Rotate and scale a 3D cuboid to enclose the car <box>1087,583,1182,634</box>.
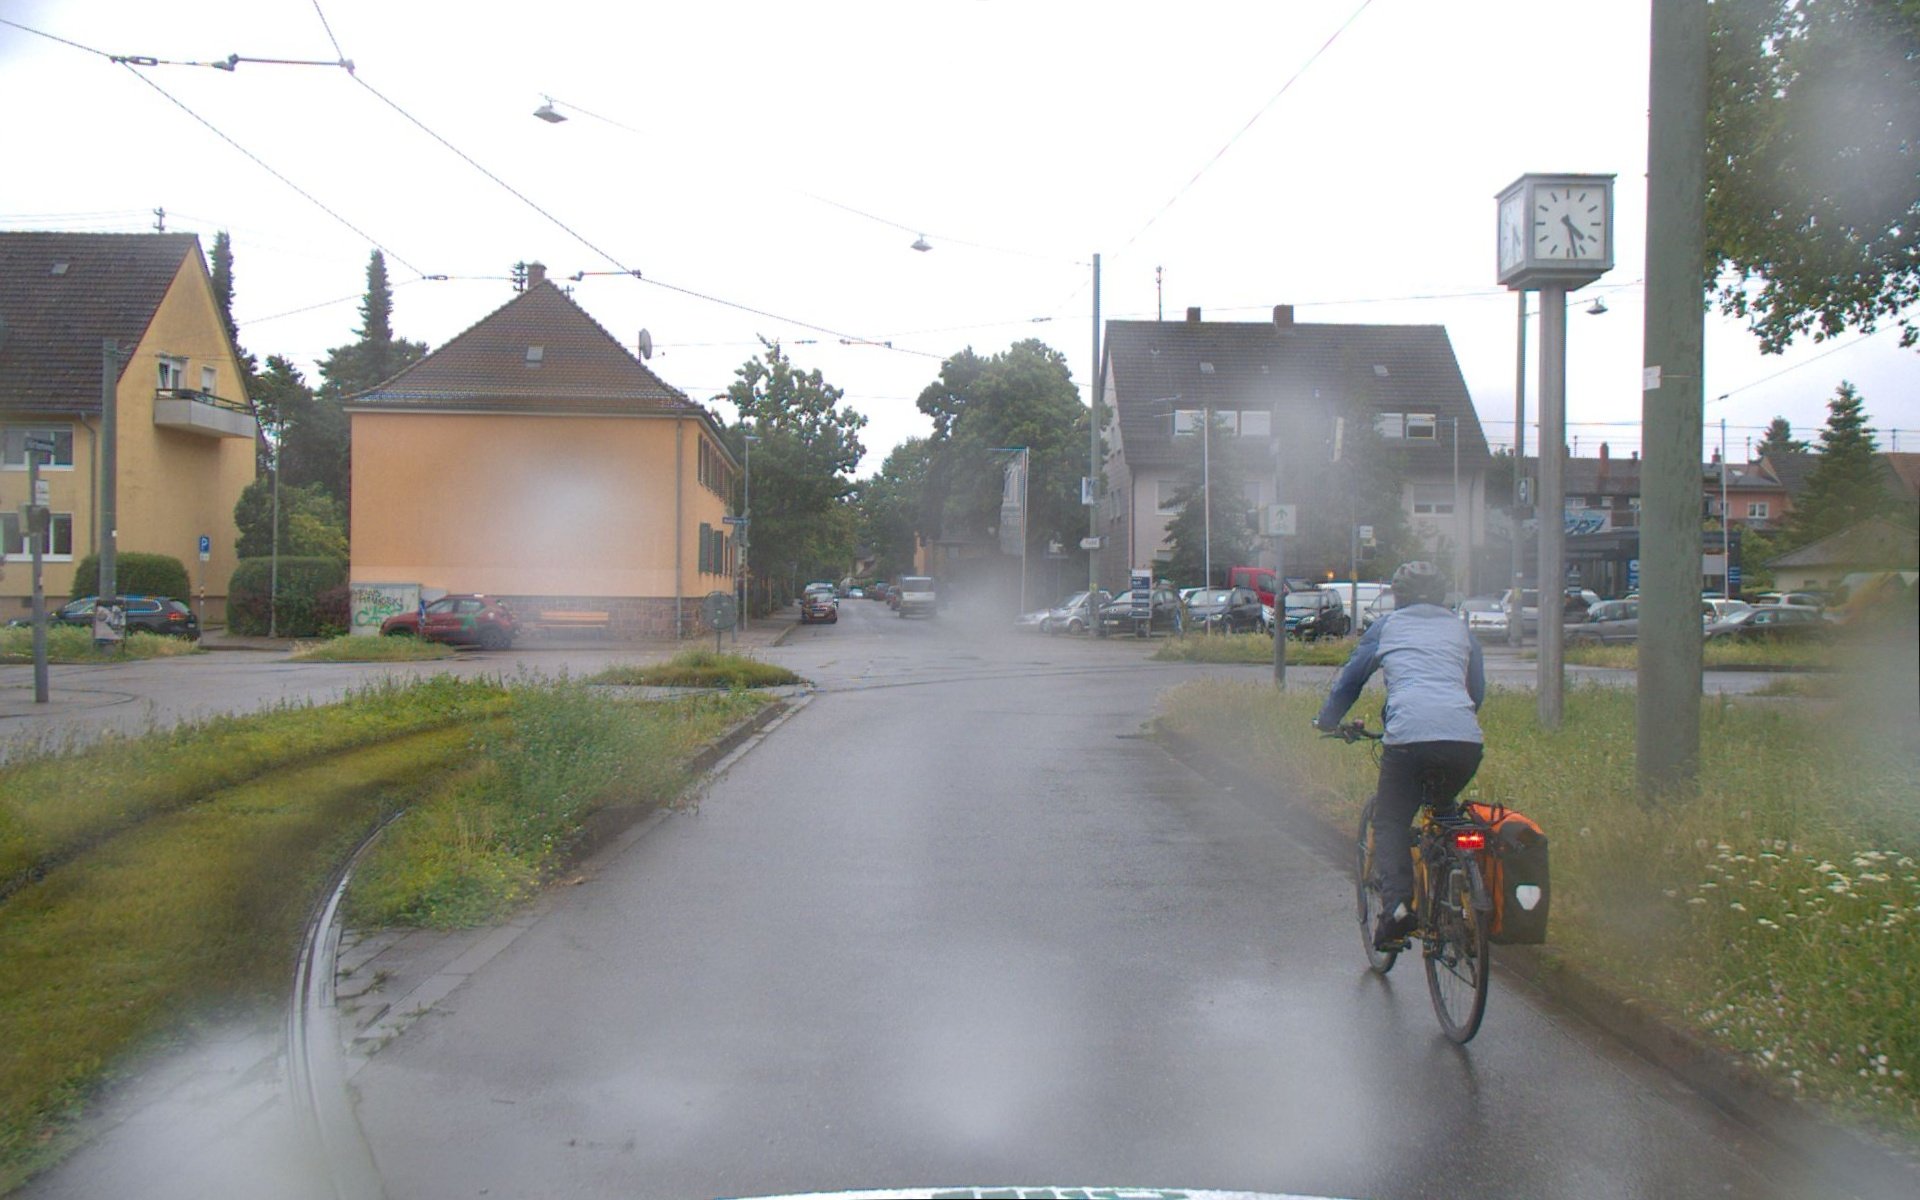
[{"bbox_3d":[5.863,0.263,55.216,1.768,1.606,3.864,0,0,30],"label":"car"}]

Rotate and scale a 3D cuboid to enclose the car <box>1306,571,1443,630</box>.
[{"bbox_3d":[14.584,0.030,58.370,4.341,2.049,2.000,0,-1,0],"label":"car"}]

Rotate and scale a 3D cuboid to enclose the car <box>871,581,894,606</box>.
[{"bbox_3d":[-6.899,-0.585,147.111,1.792,2.049,3.996,2,0,-5],"label":"car"}]

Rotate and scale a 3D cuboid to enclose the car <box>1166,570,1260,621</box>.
[{"bbox_3d":[8.315,-0.155,54.064,1.768,1.606,3.864,0,0,30],"label":"car"}]

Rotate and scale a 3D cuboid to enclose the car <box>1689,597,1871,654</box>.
[{"bbox_3d":[23.113,0.710,46.709,4.289,1.362,1.721,3,0,-5],"label":"car"}]

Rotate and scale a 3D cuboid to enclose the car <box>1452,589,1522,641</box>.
[{"bbox_3d":[16.989,0.472,53.485,1.789,1.530,4.061,2,0,13],"label":"car"}]

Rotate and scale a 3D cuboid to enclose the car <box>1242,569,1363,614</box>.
[{"bbox_3d":[13.485,-0.321,65.310,4.341,1.717,2.000,0,-1,0],"label":"car"}]

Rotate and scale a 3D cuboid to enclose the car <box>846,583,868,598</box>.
[{"bbox_3d":[-13.093,-1.206,210.891,1.800,1.726,4.010,2,0,-18],"label":"car"}]

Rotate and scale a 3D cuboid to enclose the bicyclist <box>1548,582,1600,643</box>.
[{"bbox_3d":[16.746,0.338,45.100,1.018,1.626,0.949,-1,0,-4],"label":"bicyclist"}]

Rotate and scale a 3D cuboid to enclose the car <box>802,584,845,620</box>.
[{"bbox_3d":[-6.434,0.077,78.020,1.954,1.646,3.996,0,0,-4],"label":"car"}]

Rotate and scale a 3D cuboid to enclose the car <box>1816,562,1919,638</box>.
[{"bbox_3d":[31.419,0.009,55.908,2.102,2.448,5.147,2,0,-2],"label":"car"}]

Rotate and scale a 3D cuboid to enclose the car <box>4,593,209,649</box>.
[{"bbox_3d":[-22.666,0.544,44.079,4.402,1.420,1.965,0,0,-4],"label":"car"}]

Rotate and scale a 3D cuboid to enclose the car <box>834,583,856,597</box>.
[{"bbox_3d":[-15.040,-1.316,216.241,1.800,1.726,4.010,2,0,-18],"label":"car"}]

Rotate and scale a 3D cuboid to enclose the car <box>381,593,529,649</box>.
[{"bbox_3d":[-13.804,0.550,45.336,3.535,1.362,1.721,2,0,-5],"label":"car"}]

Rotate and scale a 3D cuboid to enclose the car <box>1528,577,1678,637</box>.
[{"bbox_3d":[18.247,0.197,47.015,3.560,1.530,1.722,2,0,-4],"label":"car"}]

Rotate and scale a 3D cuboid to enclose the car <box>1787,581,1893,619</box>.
[{"bbox_3d":[38.134,0.027,71.655,4.374,1.608,1.780,0,-1,-24],"label":"car"}]

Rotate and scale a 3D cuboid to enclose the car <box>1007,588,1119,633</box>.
[{"bbox_3d":[3.853,0.365,61.804,3.805,1.606,1.796,-1,0,-22],"label":"car"}]

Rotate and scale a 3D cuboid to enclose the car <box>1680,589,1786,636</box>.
[{"bbox_3d":[25.114,0.384,53.857,1.682,1.420,3.843,2,0,1],"label":"car"}]

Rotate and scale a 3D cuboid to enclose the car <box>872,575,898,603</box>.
[{"bbox_3d":[-5.837,-0.833,128.331,1.792,2.049,3.997,2,0,-4],"label":"car"}]

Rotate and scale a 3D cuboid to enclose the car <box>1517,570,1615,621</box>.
[{"bbox_3d":[19.730,-0.153,54.022,1.765,1.606,3.871,0,0,-1],"label":"car"}]

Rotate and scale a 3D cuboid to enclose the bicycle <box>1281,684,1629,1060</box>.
[{"bbox_3d":[1.788,0.928,6.310,0.737,1.091,1.927,-1,0,0],"label":"bicycle"}]

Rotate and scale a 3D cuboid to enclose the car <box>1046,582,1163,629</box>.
[{"bbox_3d":[5.145,0.175,58.905,3.805,1.606,1.796,-1,0,-22],"label":"car"}]

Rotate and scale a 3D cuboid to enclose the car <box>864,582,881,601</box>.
[{"bbox_3d":[-10.249,-0.984,192.721,1.792,2.049,3.996,2,0,-5],"label":"car"}]

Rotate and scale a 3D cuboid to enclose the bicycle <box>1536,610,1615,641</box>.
[{"bbox_3d":[16.778,0.700,45.116,1.778,0.800,0.942,-1,0,-4],"label":"bicycle"}]

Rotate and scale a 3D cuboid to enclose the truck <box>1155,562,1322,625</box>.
[{"bbox_3d":[10.429,-0.221,61.937,5.955,2.312,2.001,0,-1,18],"label":"truck"}]

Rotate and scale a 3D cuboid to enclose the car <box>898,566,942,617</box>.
[{"bbox_3d":[-2.221,-0.459,90.384,2.111,2.617,4.130,2,0,-5],"label":"car"}]

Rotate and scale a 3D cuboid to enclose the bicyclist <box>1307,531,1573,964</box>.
[{"bbox_3d":[1.780,0.518,6.251,0.735,1.511,0.846,-1,0,0],"label":"bicyclist"}]

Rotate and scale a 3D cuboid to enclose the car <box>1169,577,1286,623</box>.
[{"bbox_3d":[9.581,0.012,59.102,3.882,1.626,2.001,0,-1,18],"label":"car"}]

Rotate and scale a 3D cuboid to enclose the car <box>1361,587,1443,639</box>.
[{"bbox_3d":[14.303,0.423,53.439,1.792,1.530,4.054,2,0,26],"label":"car"}]

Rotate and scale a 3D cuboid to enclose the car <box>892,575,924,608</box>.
[{"bbox_3d":[-3.417,-0.569,107.642,1.954,2.049,3.998,2,0,-2],"label":"car"}]

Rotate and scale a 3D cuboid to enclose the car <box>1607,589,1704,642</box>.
[{"bbox_3d":[22.675,0.489,54.027,1.682,1.600,3.618,2,0,1],"label":"car"}]

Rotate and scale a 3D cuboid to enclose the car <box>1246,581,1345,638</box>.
[{"bbox_3d":[10.881,0.282,53.435,1.956,1.747,3.992,0,0,30],"label":"car"}]
